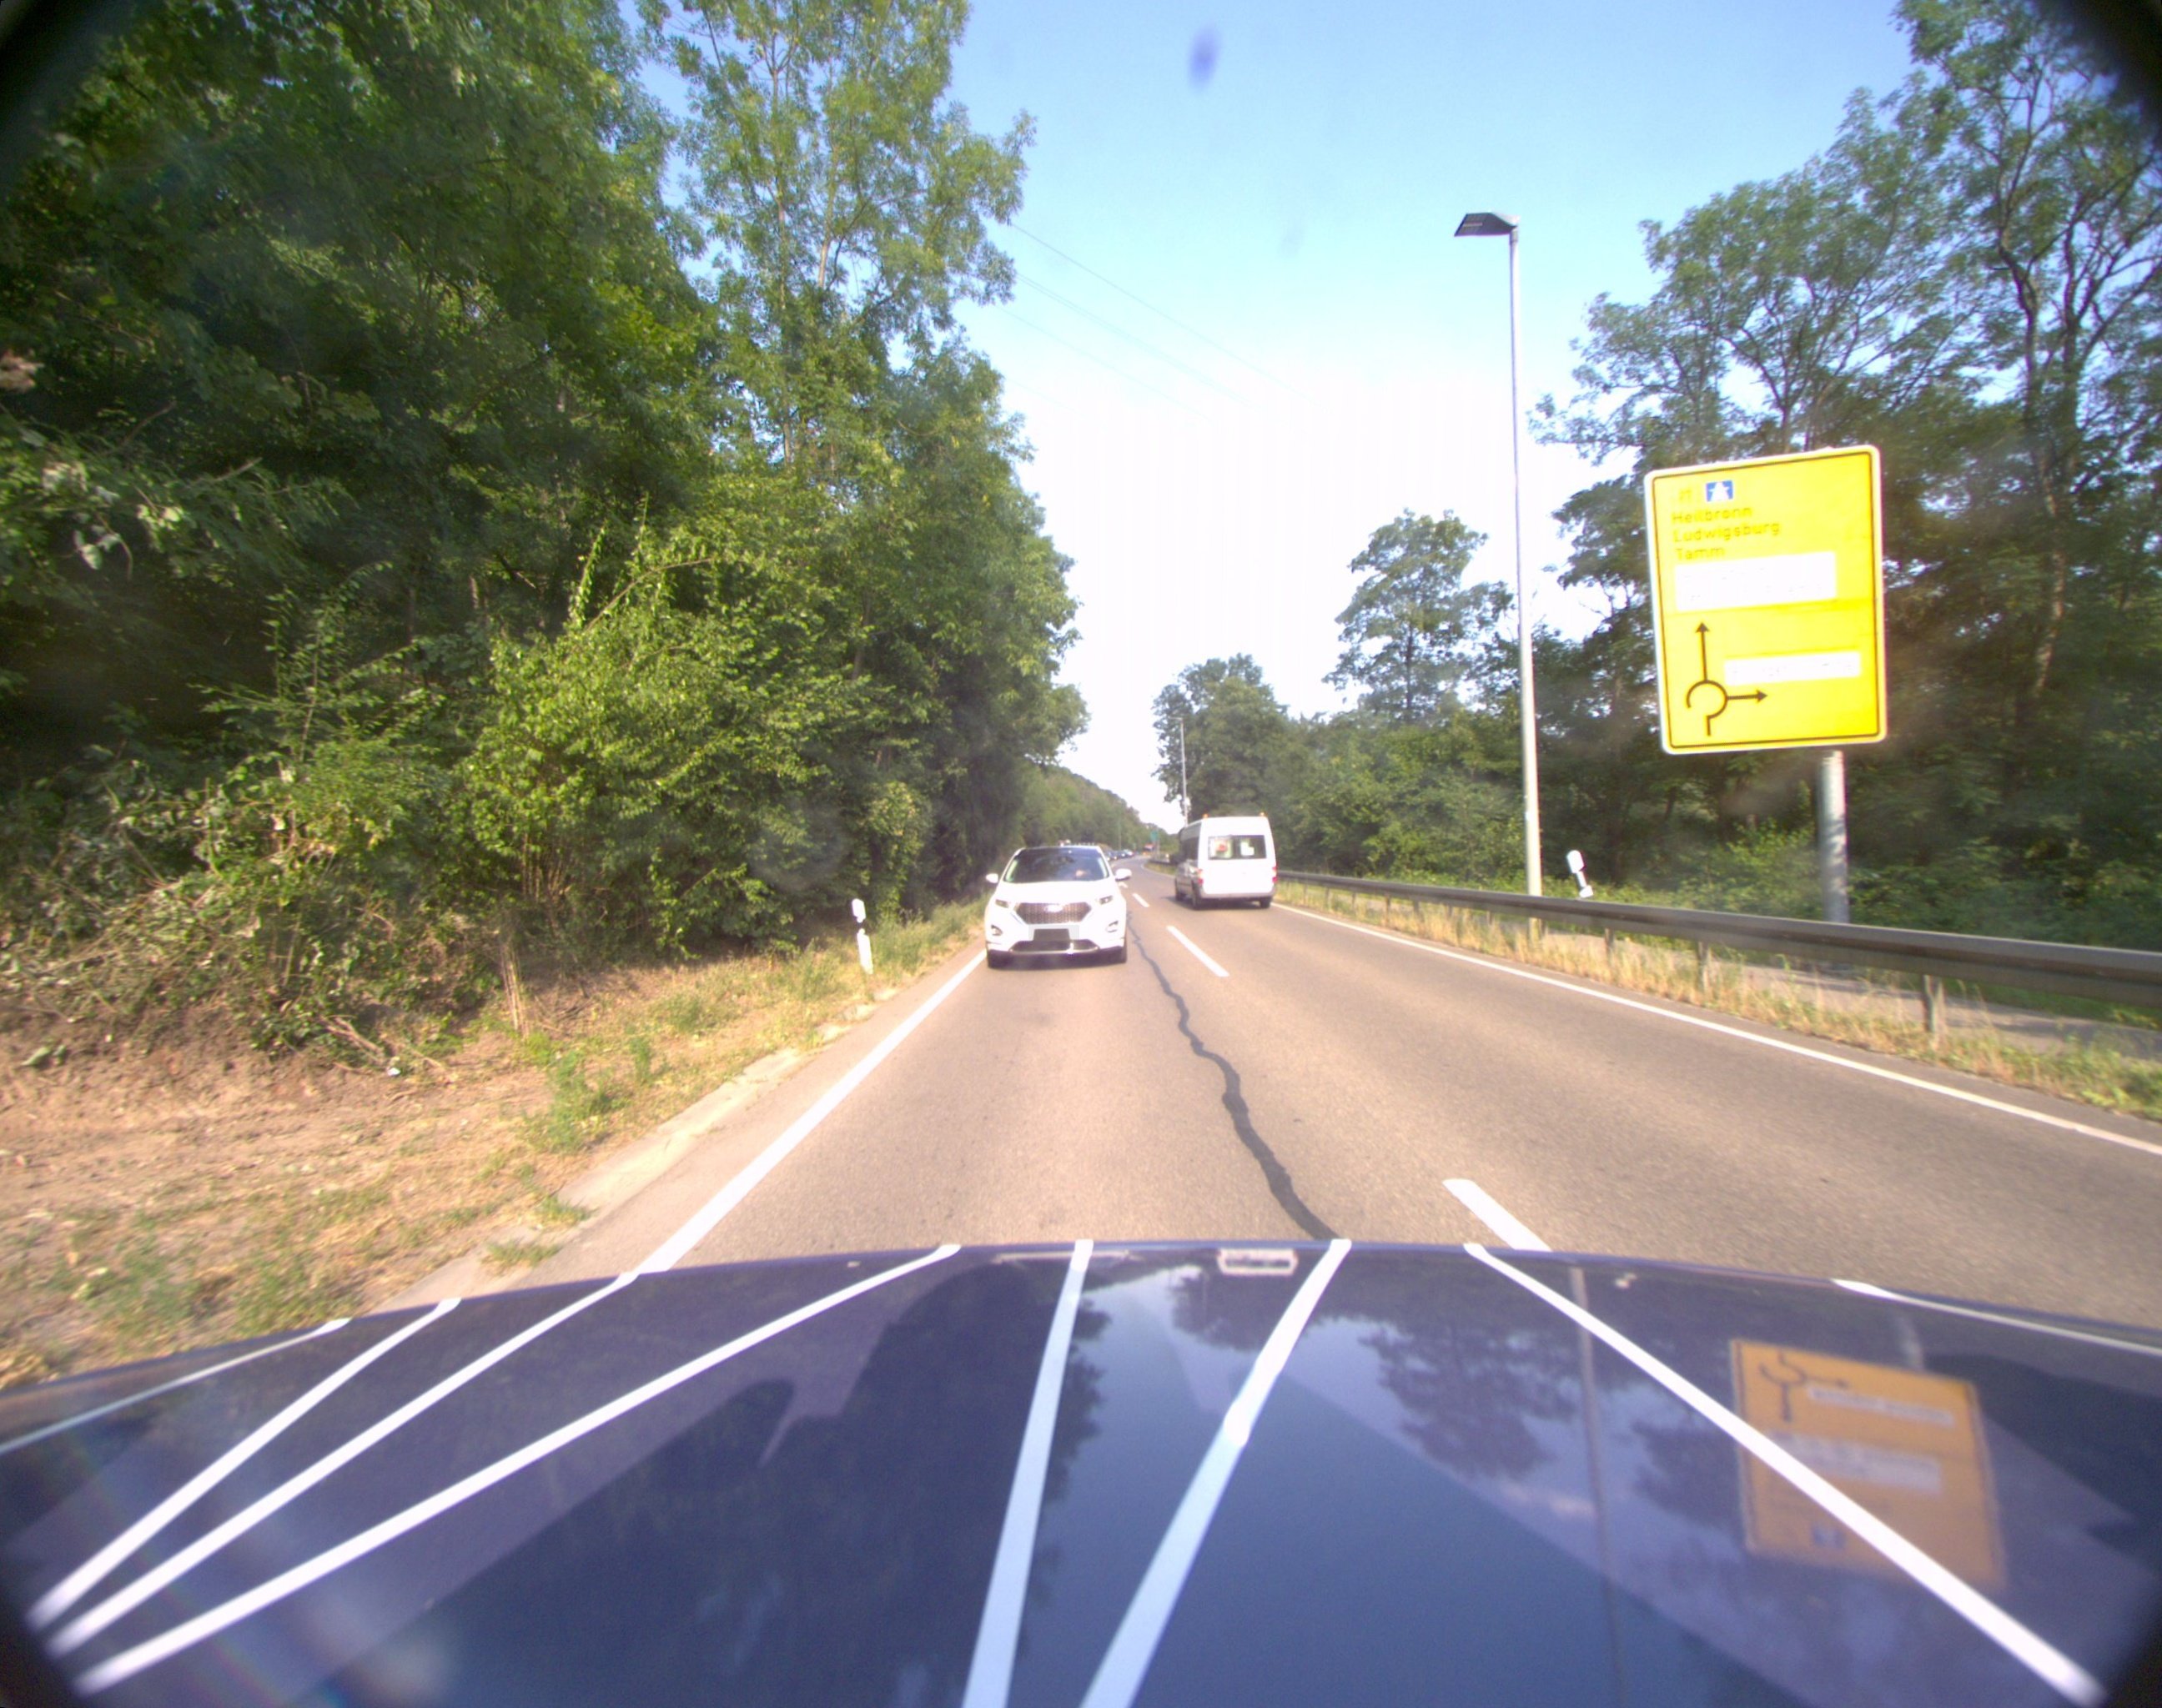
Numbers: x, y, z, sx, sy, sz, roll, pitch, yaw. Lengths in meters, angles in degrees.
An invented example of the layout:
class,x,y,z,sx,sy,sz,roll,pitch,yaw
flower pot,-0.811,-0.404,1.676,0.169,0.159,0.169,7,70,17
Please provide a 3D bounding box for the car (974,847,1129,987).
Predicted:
class,x,y,z,sx,sy,sz,roll,pitch,yaw
car,-0.347,0.783,11.660,1.894,1.691,4.136,-2,0,1

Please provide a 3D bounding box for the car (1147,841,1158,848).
class,x,y,z,sx,sy,sz,roll,pitch,yaw
car,18.584,-2.471,198.243,1.996,1.697,4.004,-2,1,18

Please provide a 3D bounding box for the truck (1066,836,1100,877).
class,x,y,z,sx,sy,sz,roll,pitch,yaw
truck,0.180,0.152,47.156,1.894,2.334,5.273,-2,0,1

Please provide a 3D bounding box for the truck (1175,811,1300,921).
class,x,y,z,sx,sy,sz,roll,pitch,yaw
truck,3.819,0.243,19.693,2.062,2.371,5.872,-2,1,1

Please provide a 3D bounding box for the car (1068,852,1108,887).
class,x,y,z,sx,sy,sz,roll,pitch,yaw
car,0.324,0.687,35.662,1.704,1.477,4.136,-2,0,1
